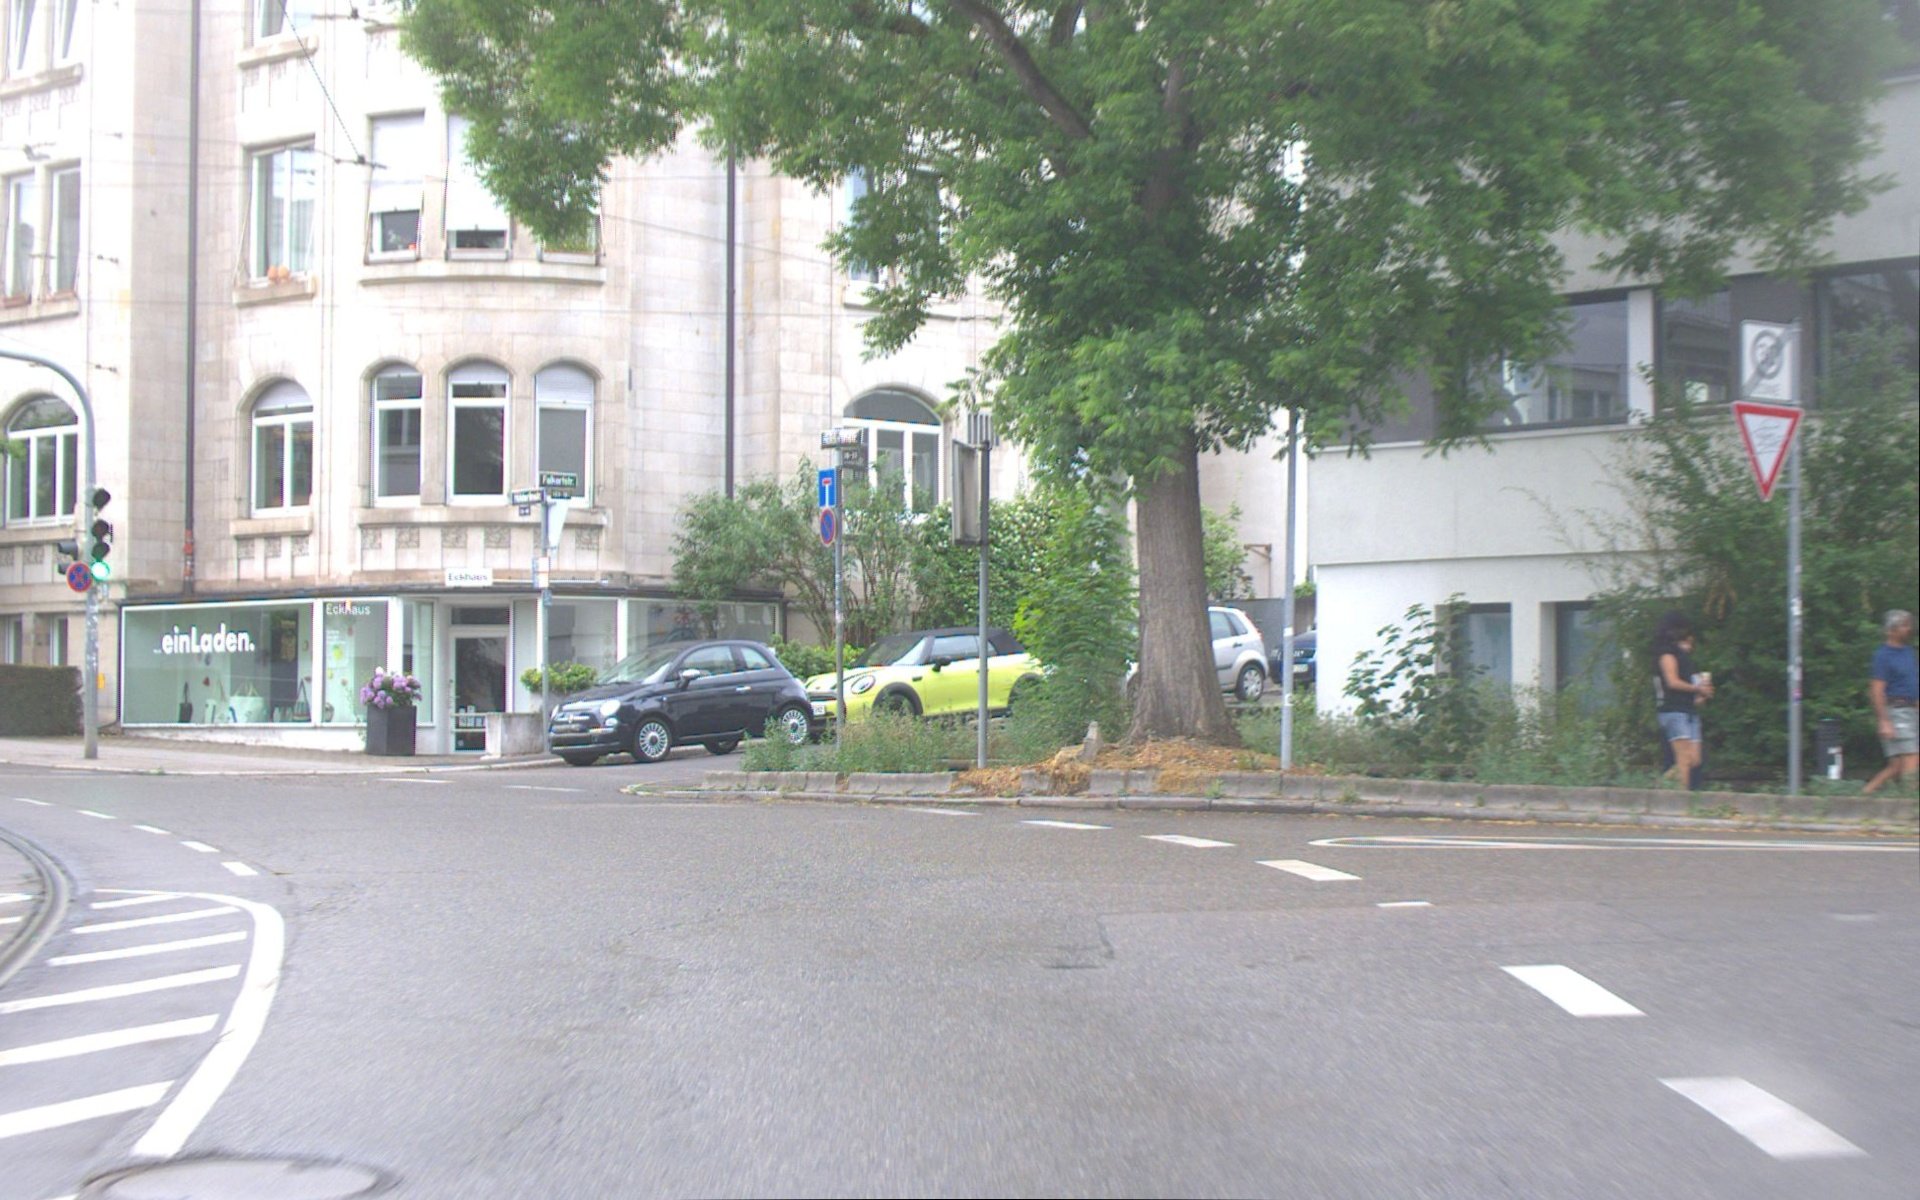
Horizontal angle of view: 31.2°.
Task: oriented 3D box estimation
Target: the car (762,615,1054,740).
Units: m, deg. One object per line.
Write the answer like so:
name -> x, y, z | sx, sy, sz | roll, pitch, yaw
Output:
car -> -0.675, 1.005, 46.252 | 3.660, 1.503, 1.737 | -2, 1, -41

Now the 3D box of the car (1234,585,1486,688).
car -> 6.237, 0.590, 53.411 | 3.885, 1.503, 1.623 | 1, -3, -39

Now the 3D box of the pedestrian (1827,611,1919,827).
pedestrian -> 7.163, 0.911, 26.614 | 0.544, 1.624, 0.602 | 1, 2, -33

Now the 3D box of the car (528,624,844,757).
car -> -3.444, 1.110, 43.546 | 3.660, 1.503, 1.737 | -2, 1, -41

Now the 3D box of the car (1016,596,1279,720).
car -> 2.729, 0.820, 49.551 | 1.622, 1.503, 3.764 | -4, 0, 44

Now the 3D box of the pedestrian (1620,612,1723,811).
pedestrian -> 5.765, 0.898, 27.874 | 0.599, 1.560, 0.546 | 2, 1, -10
